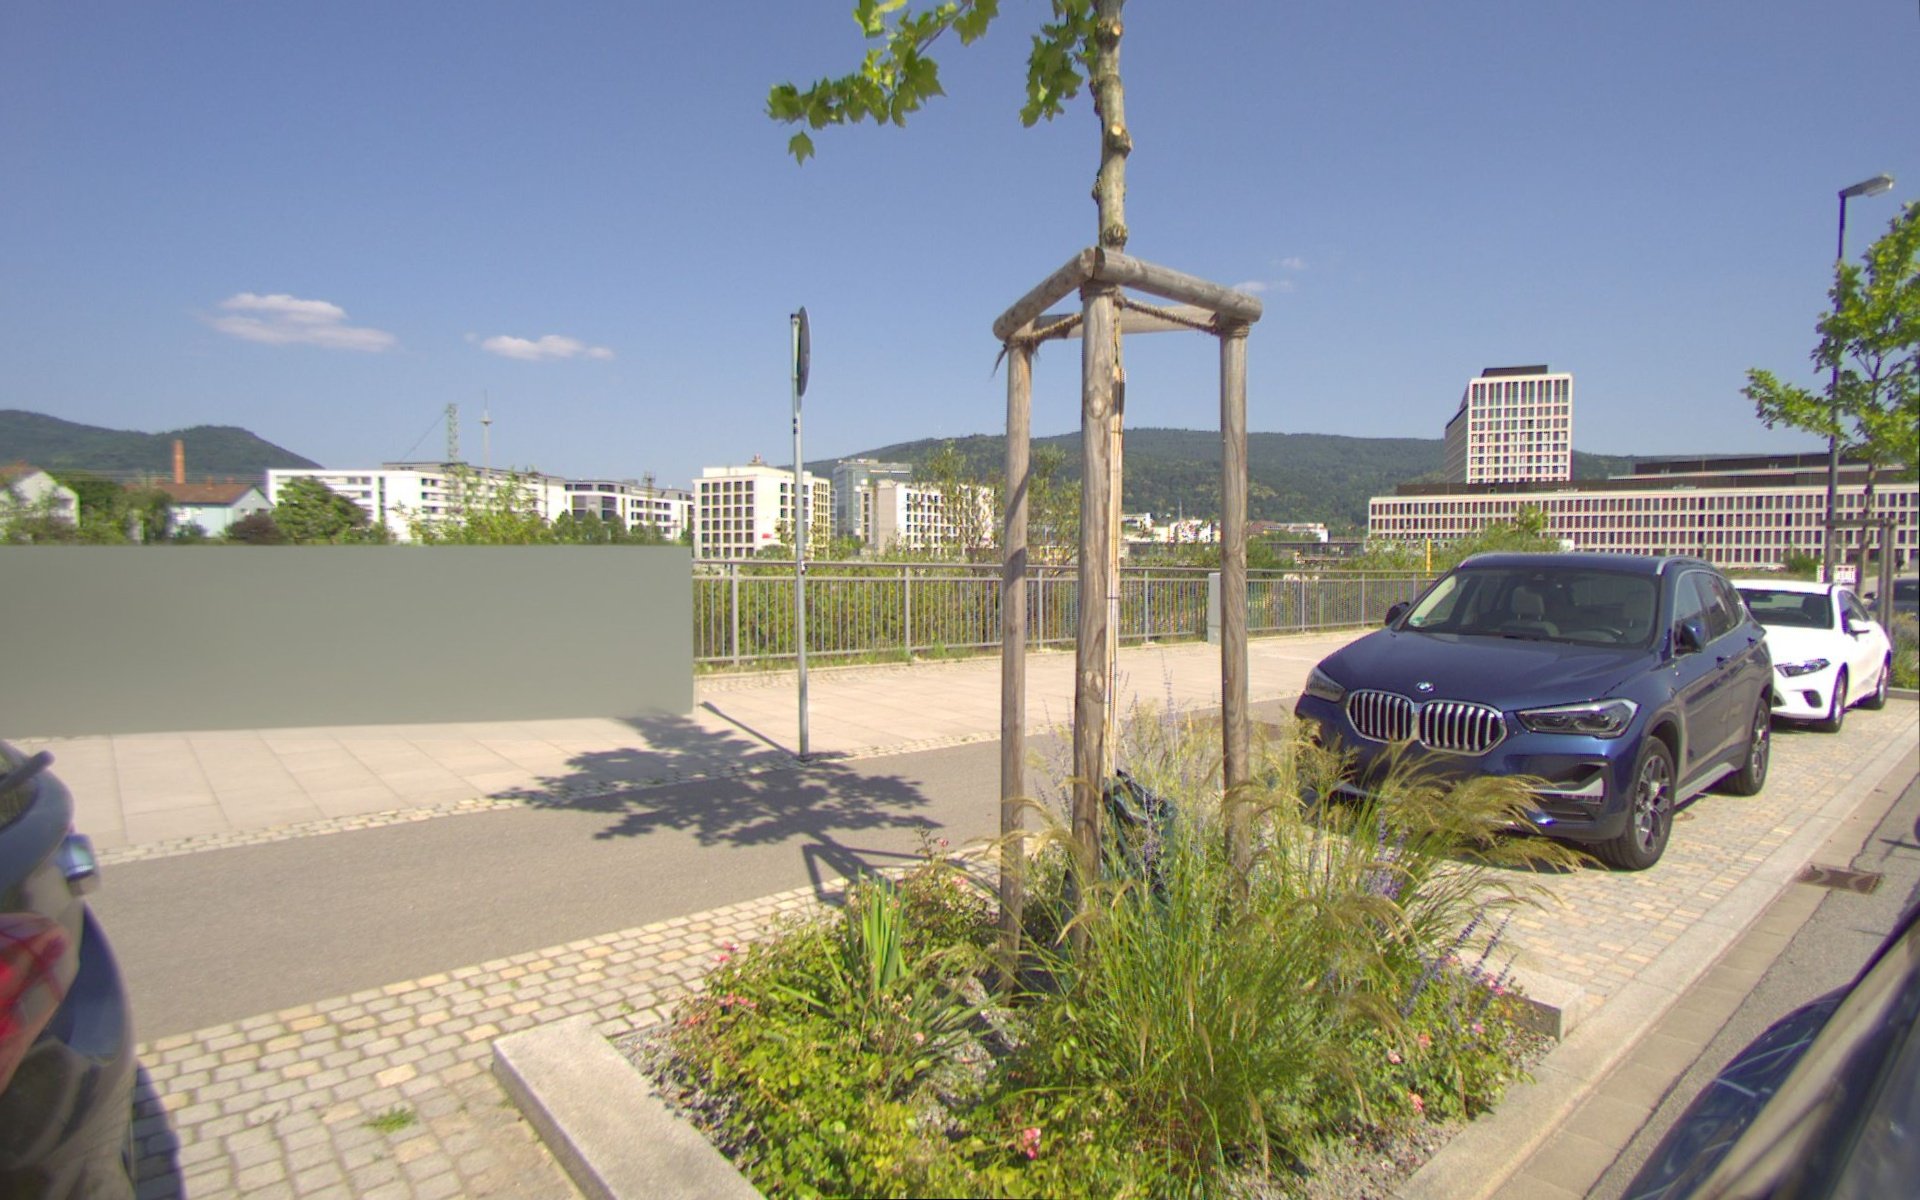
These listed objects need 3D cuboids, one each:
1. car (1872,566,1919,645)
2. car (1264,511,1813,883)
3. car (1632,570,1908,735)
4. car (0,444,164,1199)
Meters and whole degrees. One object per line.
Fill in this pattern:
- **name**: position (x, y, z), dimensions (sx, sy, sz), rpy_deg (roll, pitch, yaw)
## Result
- **car**: position (20.441, 0.071, 21.085), dimensions (3.930, 1.558, 1.663), rpy_deg (-1, 1, -41)
- **car**: position (3.881, 0.383, 6.462), dimensions (4.164, 1.627, 1.768), rpy_deg (-1, 1, -41)
- **car**: position (8.894, 0.431, 11.003), dimensions (3.930, 1.473, 1.663), rpy_deg (-1, 1, -41)
- **car**: position (-2.893, 0.558, 0.434), dimensions (3.932, 1.444, 1.663), rpy_deg (-1, 3, -42)
